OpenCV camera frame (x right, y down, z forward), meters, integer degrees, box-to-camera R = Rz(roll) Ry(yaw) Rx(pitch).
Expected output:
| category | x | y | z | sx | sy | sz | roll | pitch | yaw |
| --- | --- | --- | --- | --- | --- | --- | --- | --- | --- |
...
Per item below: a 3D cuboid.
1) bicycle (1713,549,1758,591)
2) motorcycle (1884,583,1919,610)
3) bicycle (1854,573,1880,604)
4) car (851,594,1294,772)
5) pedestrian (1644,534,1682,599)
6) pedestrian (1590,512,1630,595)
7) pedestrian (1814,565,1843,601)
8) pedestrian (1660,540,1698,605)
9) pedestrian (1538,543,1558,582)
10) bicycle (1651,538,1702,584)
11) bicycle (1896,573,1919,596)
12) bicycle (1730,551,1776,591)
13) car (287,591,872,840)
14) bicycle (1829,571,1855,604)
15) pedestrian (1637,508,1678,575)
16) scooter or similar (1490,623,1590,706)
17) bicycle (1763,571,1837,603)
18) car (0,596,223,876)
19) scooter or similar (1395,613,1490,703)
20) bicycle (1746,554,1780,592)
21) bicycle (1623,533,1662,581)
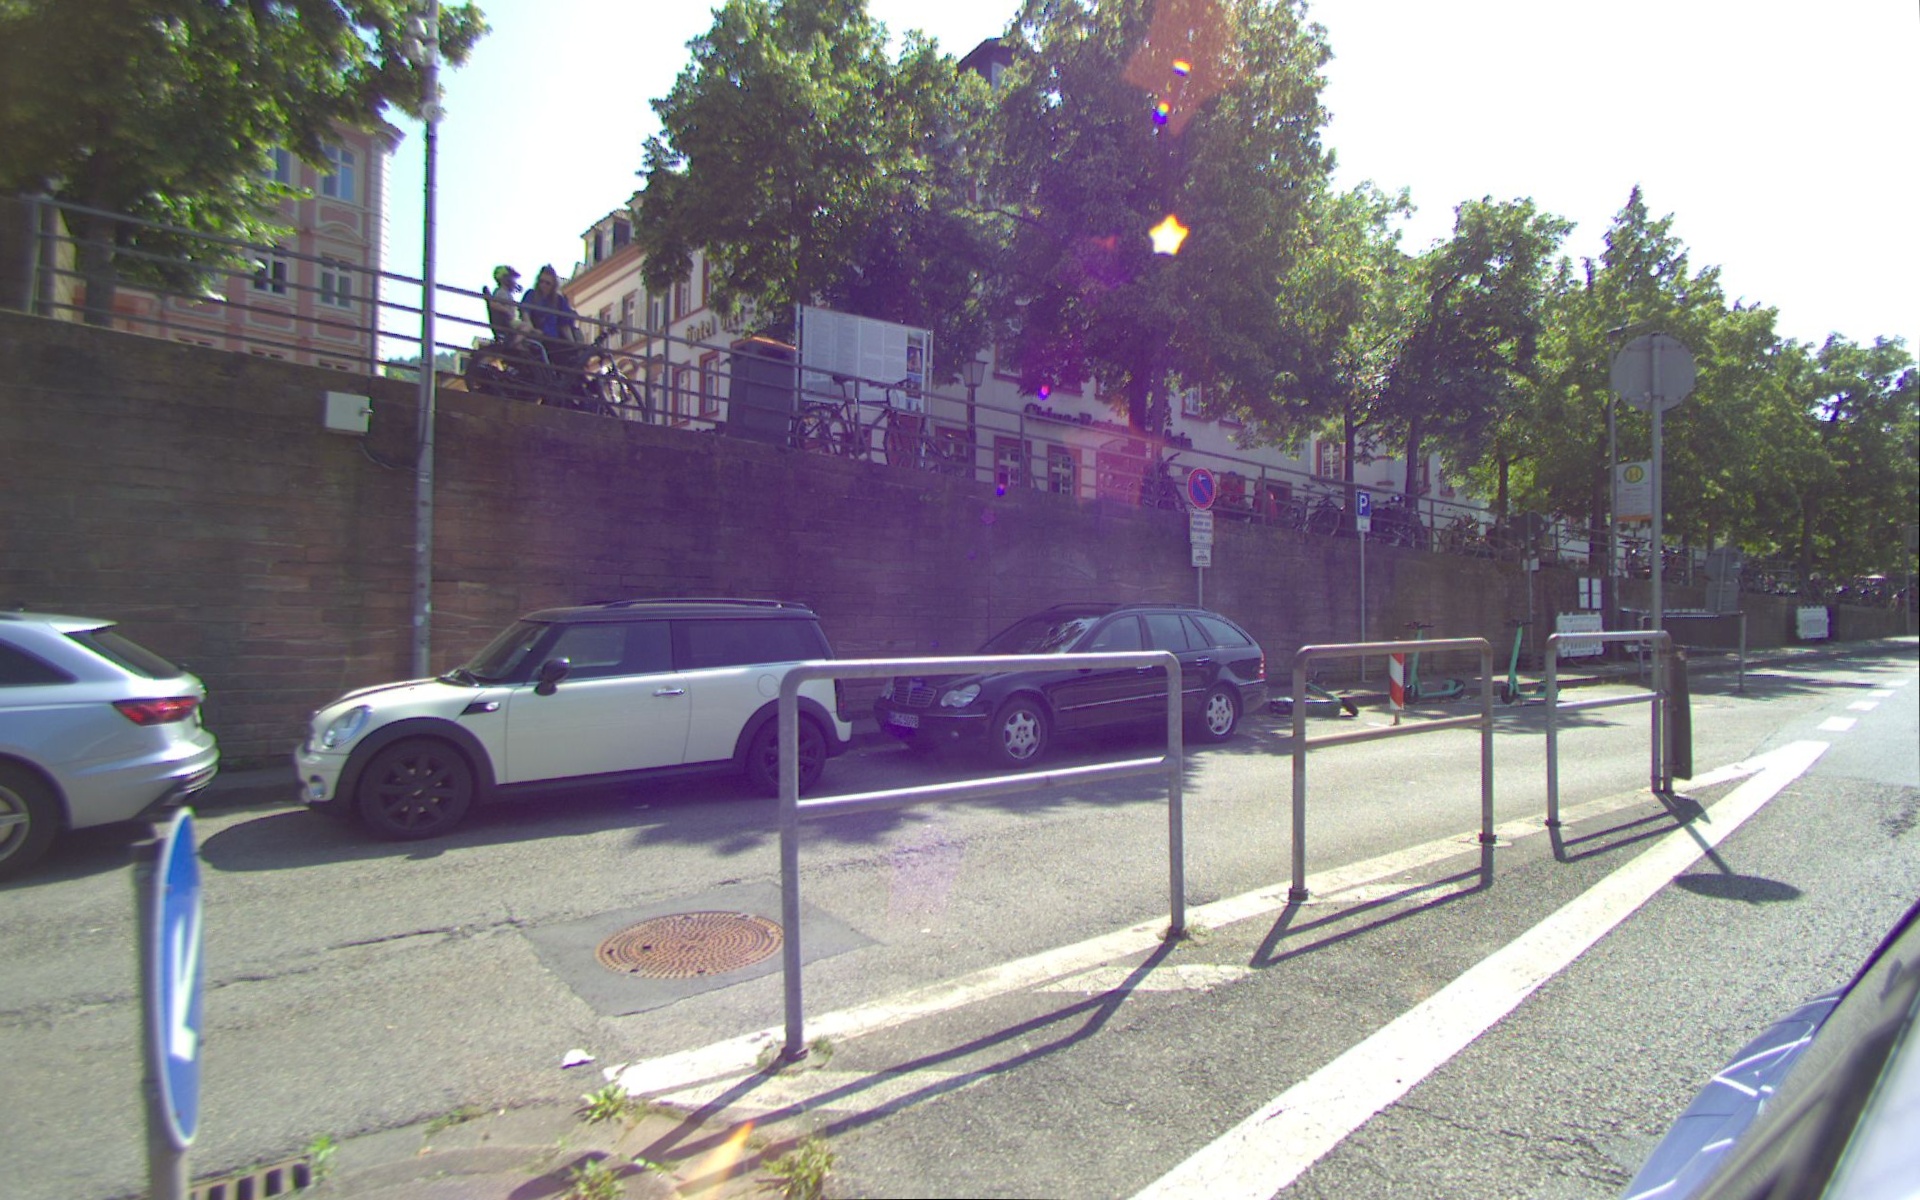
| category | x | y | z | sx | sy | sz | roll | pitch | yaw |
| --- | --- | --- | --- | --- | --- | --- | --- | --- | --- |
| bicycle | 21.574 | -0.830 | 28.142 | 1.700 | 1.120 | 0.411 | 1 | -1 | -31 |
| motorcycle | 39.571 | -0.146 | 41.904 | 0.565 | 1.112 | 1.917 | 1 | 1 | -43 |
| bicycle | 31.003 | -0.388 | 34.575 | 1.905 | 1.017 | 0.299 | 2 | -1 | -37 |
| car | 1.272 | 0.701 | 10.414 | 4.449 | 1.468 | 1.848 | 0 | -1 | -36 |
| pedestrian | 19.117 | -0.902 | 27.530 | 0.562 | 1.743 | 0.720 | 1 | -1 | -35 |
| pedestrian | 17.717 | -1.243 | 27.572 | 0.698 | 2.217 | 0.720 | 1 | -1 | -36 |
| pedestrian | 30.802 | -0.594 | 35.883 | 0.657 | 1.281 | 0.696 | 1 | -1 | -39 |
| pedestrian | 19.712 | -0.743 | 27.746 | 0.562 | 1.743 | 0.720 | 1 | -1 | -35 |
| pedestrian | 24.066 | -1.533 | 41.439 | 0.597 | 1.565 | 0.469 | 1 | -3 | -36 |
| bicycle | 18.263 | -0.985 | 25.772 | 1.700 | 1.120 | 0.411 | 1 | 0 | -31 |
| bicycle | 35.074 | -0.570 | 37.453 | 1.884 | 0.794 | 0.350 | 1 | -1 | -38 |
| bicycle | 22.870 | -0.818 | 29.184 | 1.886 | 1.120 | 0.411 | 1 | -1 | -31 |
| car | -2.724 | 0.678 | 7.577 | 3.828 | 1.431 | 1.617 | 0 | -1 | -34 |
| bicycle | 29.198 | -0.405 | 33.497 | 1.825 | 1.017 | 0.299 | 2 | -1 | -37 |
| pedestrian | 18.687 | -1.540 | 27.103 | 0.698 | 1.743 | 0.720 | 1 | -1 | -36 |
| scooter or similar | 8.160 | 0.885 | 14.233 | 1.409 | 1.103 | 0.534 | 0 | 0 | -27 |
| bicycle | 27.594 | -0.421 | 33.274 | 0.293 | 1.017 | 1.858 | 2 | -1 | -38 |
| car | -6.630 | 0.709 | 5.126 | 4.667 | 1.451 | 1.758 | 0 | -1 | -37 |
| scooter or similar | 6.967 | 0.815 | 14.620 | 1.244 | 1.246 | 0.534 | 0 | 0 | -22 |
| bicycle | 26.012 | -0.849 | 32.781 | 1.897 | 1.155 | 0.383 | 2 | -1 | -37 |
| bicycle | 16.654 | -1.035 | 24.690 | 1.705 | 1.120 | 0.410 | 1 | 0 | -43 |
